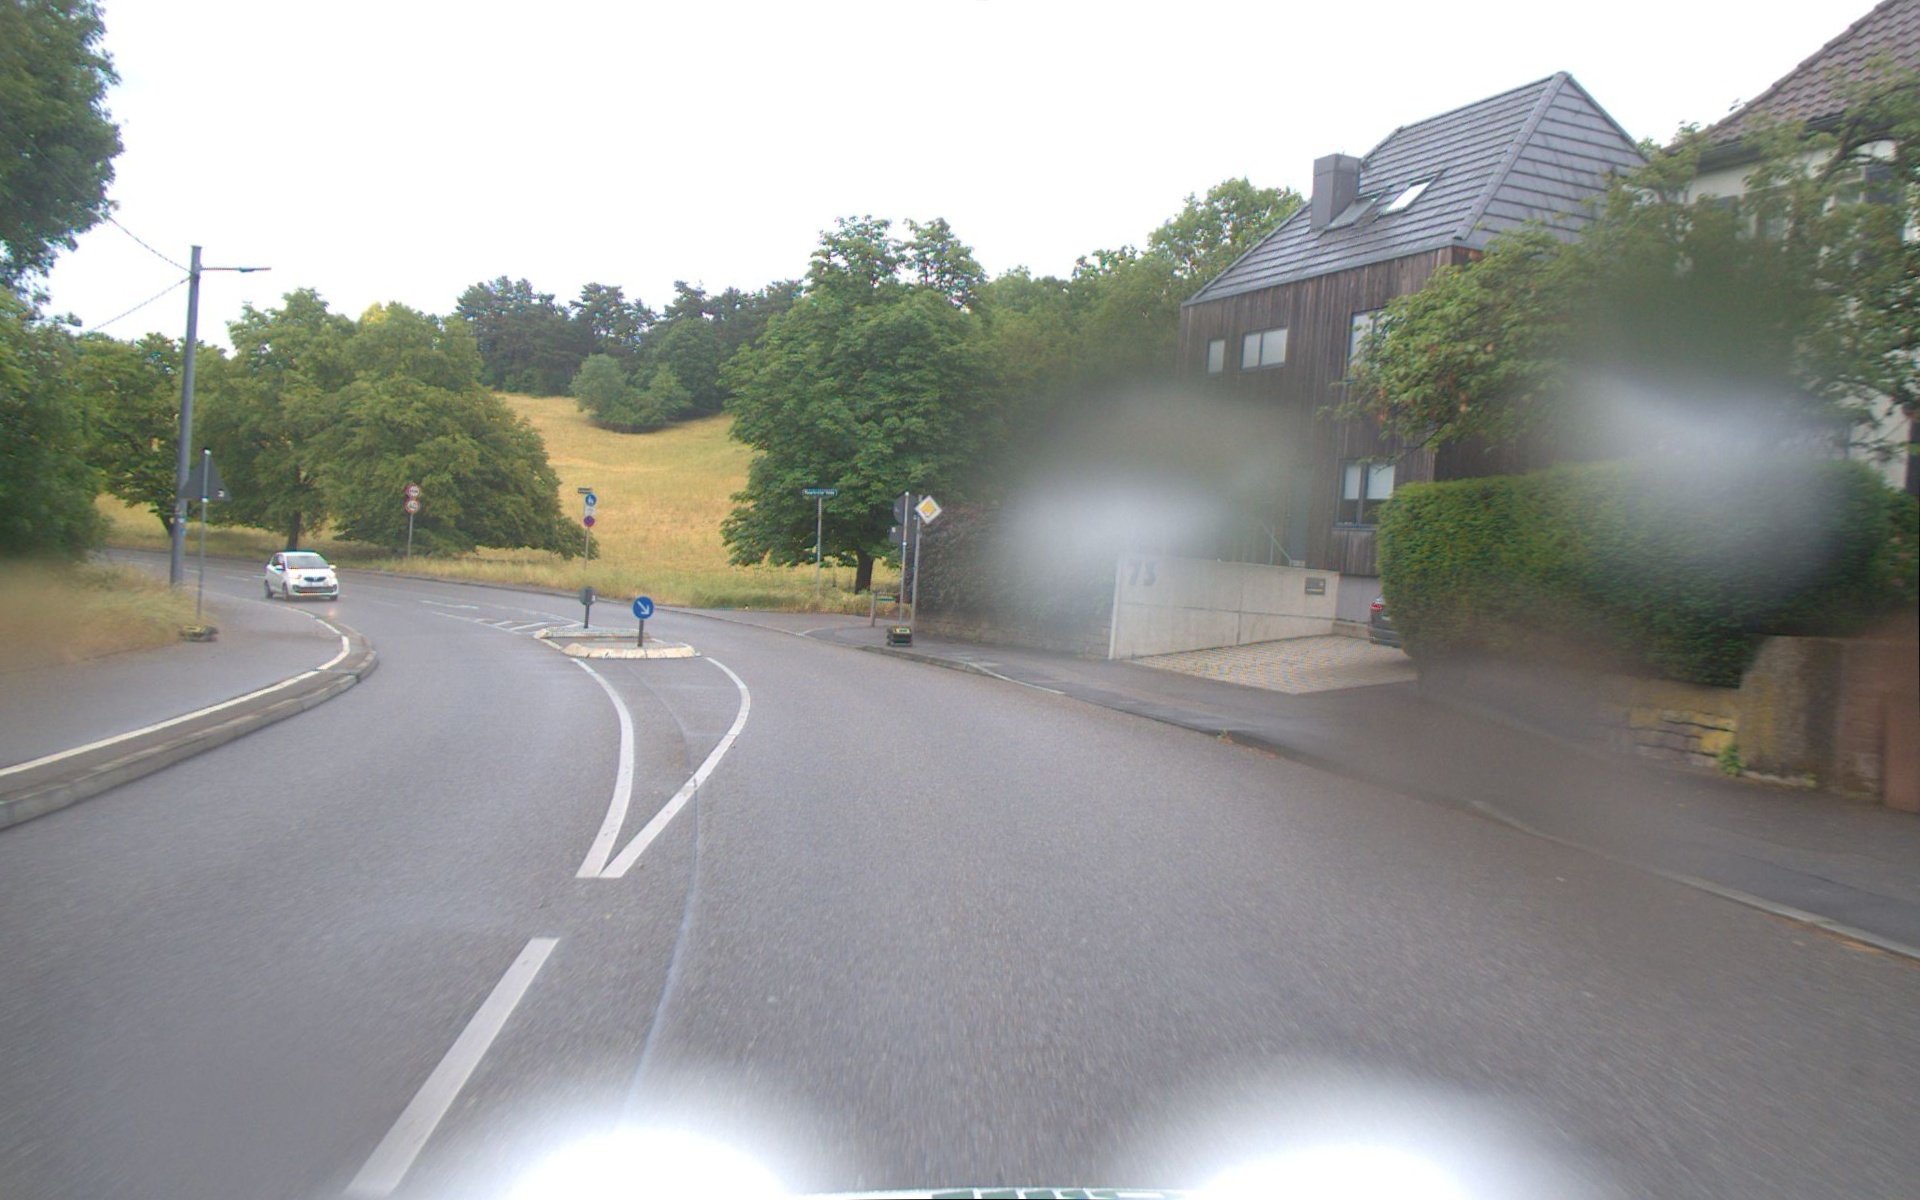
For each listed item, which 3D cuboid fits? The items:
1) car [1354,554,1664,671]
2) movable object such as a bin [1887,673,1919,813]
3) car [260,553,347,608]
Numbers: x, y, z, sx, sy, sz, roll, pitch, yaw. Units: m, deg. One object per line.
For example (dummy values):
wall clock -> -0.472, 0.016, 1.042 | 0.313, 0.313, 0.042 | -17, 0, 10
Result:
car -> 8.643, 0.137, 26.072 | 4.489, 1.556, 1.800 | -3, 3, -19
movable object such as a bin -> 6.729, 0.990, 11.346 | 0.411, 0.936, 0.462 | 2, 0, -12
car -> -21.188, -0.673, 53.293 | 1.778, 1.511, 3.954 | -2, 5, -34
